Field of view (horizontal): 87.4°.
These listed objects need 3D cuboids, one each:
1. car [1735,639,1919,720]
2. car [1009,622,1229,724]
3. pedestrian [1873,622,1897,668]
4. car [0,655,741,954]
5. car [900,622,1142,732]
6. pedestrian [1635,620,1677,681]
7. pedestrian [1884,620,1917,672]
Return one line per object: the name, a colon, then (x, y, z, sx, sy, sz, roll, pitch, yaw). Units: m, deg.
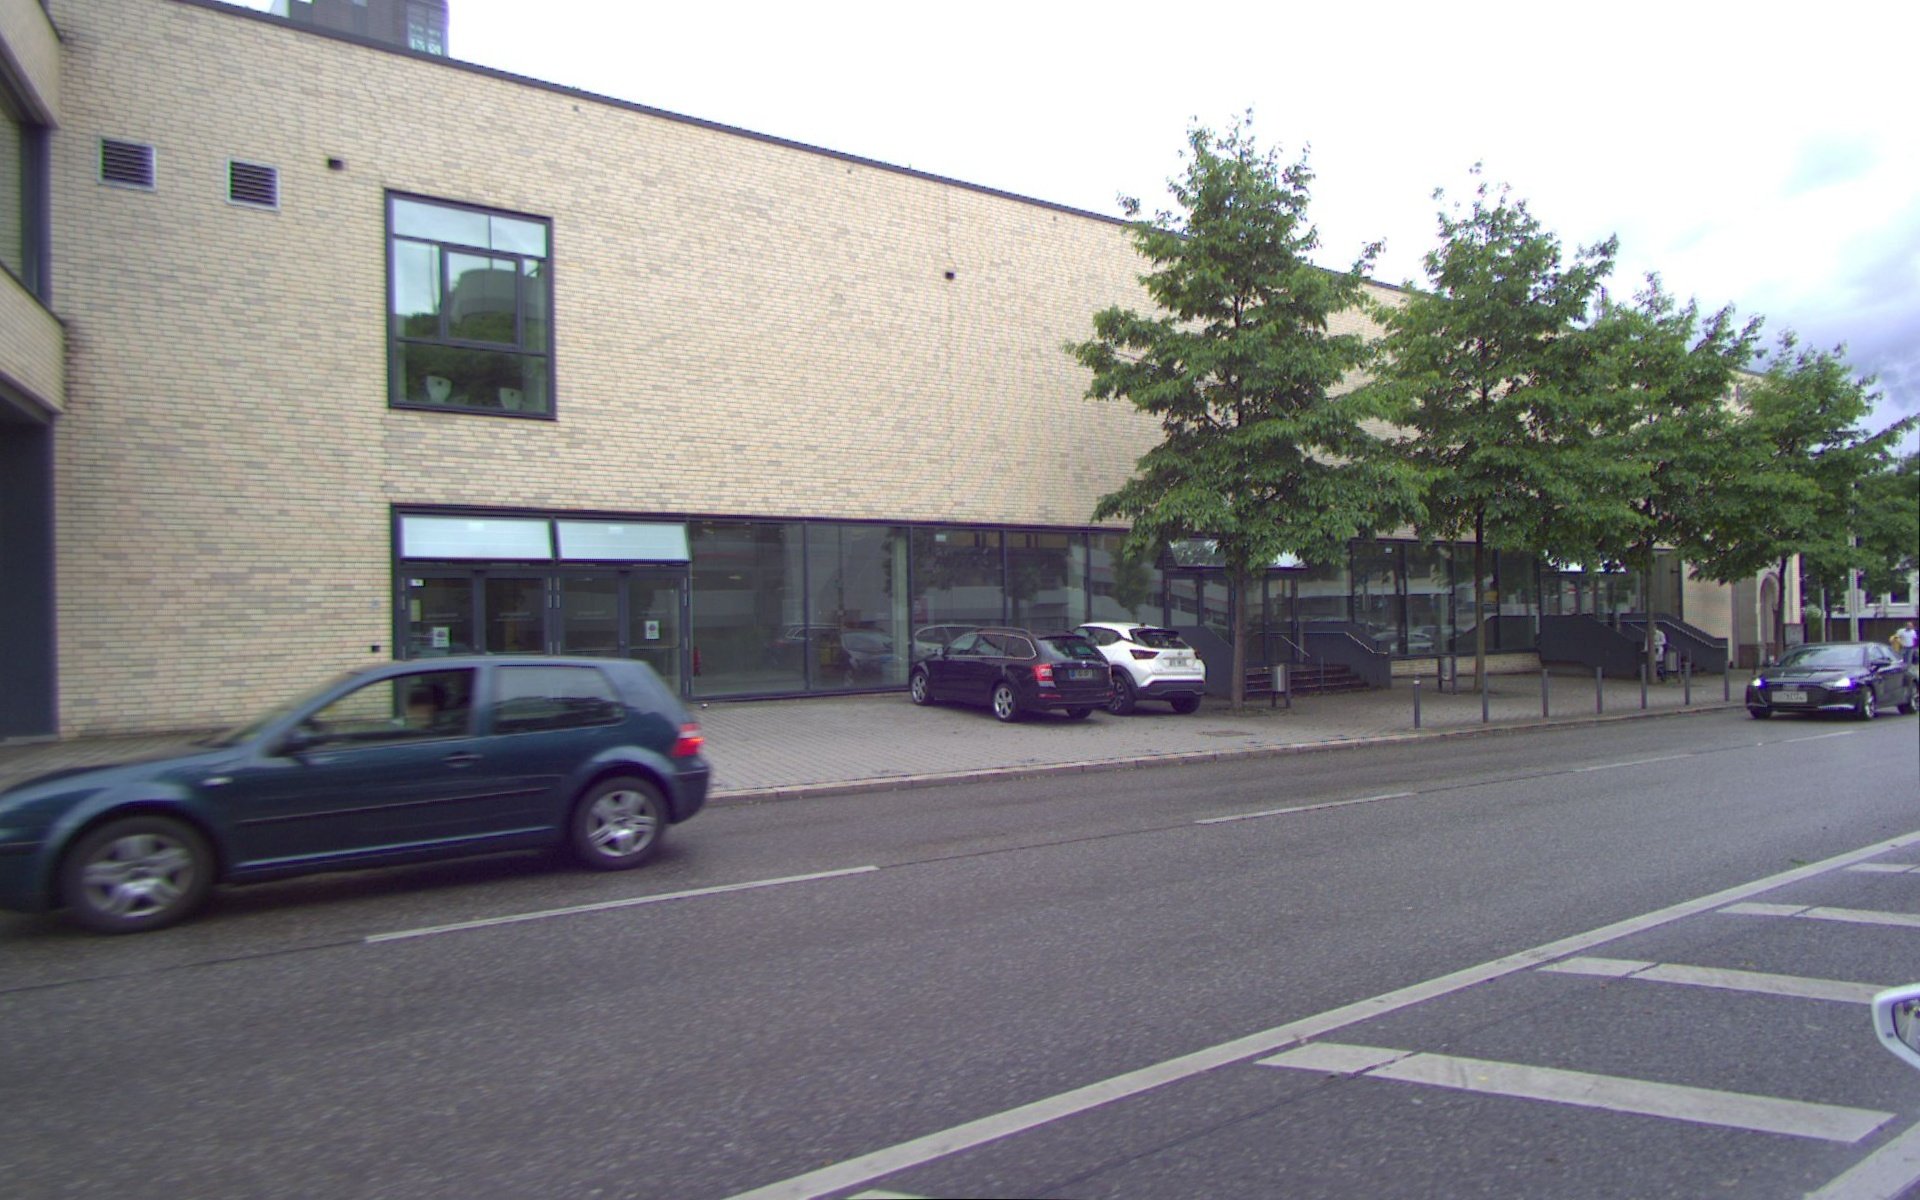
car: (17.012, 1.494, 19.562, 4.155, 1.412, 1.723, 1, -4, -33)
car: (2.857, 1.281, 18.997, 1.975, 1.568, 4.159, 2, 0, -28)
pedestrian: (31.335, 1.518, 34.032, 0.540, 1.554, 0.436, 0, -2, -33)
car: (-3.628, 1.106, 6.670, 3.927, 1.430, 1.736, 1, -4, -32)
car: (0.927, 1.219, 17.355, 1.981, 1.514, 4.147, 2, 0, -36)
pedestrian: (19.818, 1.438, 28.596, 1.009, 1.688, 0.638, 2, 0, -36)
pedestrian: (30.596, 1.486, 32.691, 0.684, 1.678, 0.608, 0, -2, -32)
